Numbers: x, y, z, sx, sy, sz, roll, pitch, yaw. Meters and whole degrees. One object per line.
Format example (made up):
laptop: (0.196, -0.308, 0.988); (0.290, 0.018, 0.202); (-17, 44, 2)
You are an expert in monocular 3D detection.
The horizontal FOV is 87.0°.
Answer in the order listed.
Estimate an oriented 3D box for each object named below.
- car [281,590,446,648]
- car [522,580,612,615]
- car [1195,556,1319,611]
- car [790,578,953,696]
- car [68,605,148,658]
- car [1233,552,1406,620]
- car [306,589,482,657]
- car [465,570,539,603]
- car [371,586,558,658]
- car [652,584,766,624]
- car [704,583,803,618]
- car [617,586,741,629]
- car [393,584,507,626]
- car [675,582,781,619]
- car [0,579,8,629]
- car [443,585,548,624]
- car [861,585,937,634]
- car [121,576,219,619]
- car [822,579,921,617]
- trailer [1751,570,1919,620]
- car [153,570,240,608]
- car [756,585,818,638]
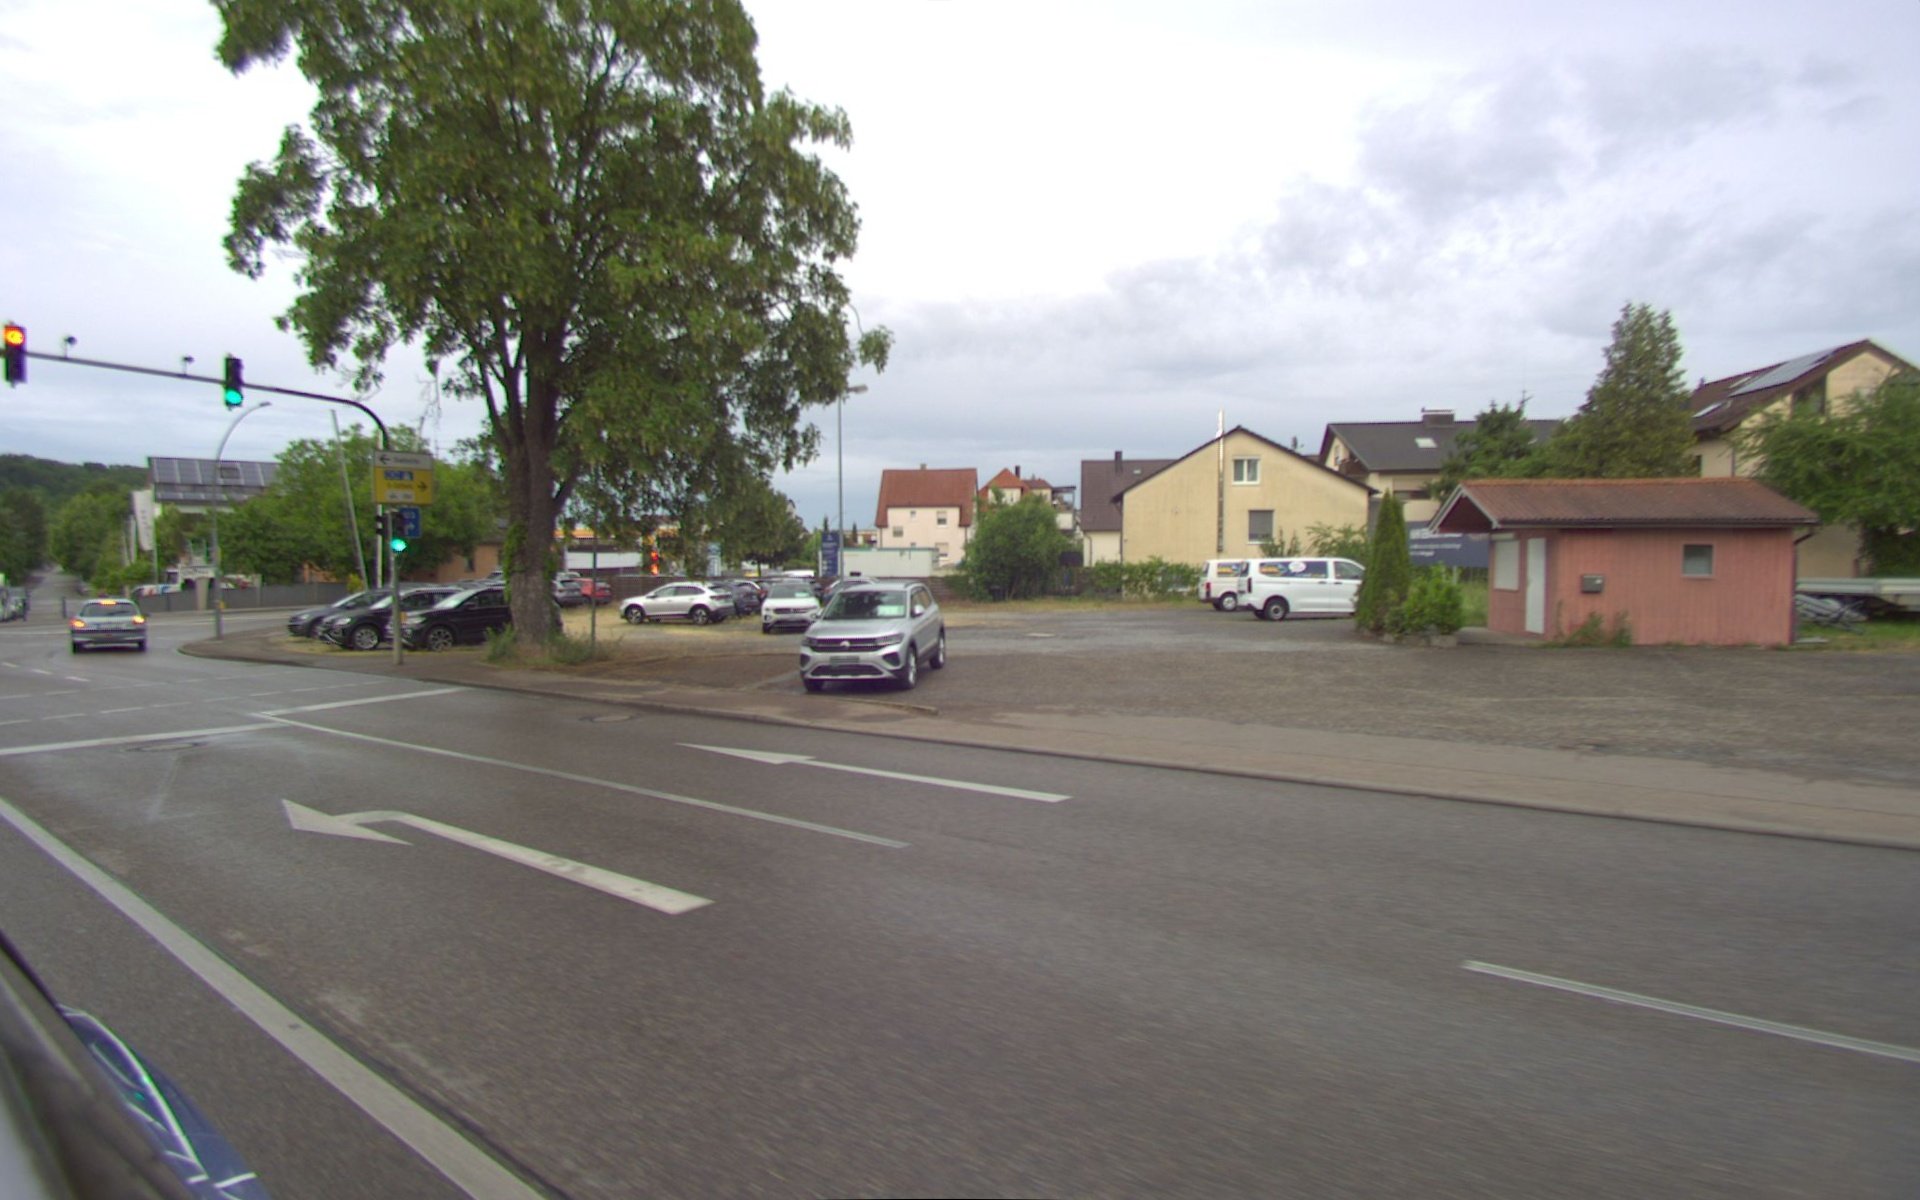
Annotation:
car: (-17.682, 0.507, 30.075); (4.091, 1.521, 1.677); (-2, 2, -35)
car: (-19.060, -0.140, 49.143); (3.721, 1.562, 1.593); (-1, 1, -1)
car: (11.305, -0.623, 38.724); (4.218, 2.002, 1.722); (-1, 1, 4)
car: (-1.317, 0.505, 16.779); (1.702, 1.581, 3.997); (-2, 2, 10)
car: (-24.042, 0.837, 28.656); (1.624, 1.391, 3.710); (-1, 0, -39)
car: (11.379, -0.437, 32.323); (4.810, 2.002, 1.958); (-1, 1, 5)
car: (-14.801, 0.546, 26.580); (3.714, 1.579, 1.673); (-2, 1, -45)
car: (-30.782, -0.881, 68.166); (2.030, 2.102, 5.242); (-1, 0, 8)
car: (-12.297, 0.492, 25.278); (1.672, 1.579, 3.842); (0, 1, 42)
car: (-9.861, 0.147, 39.875); (3.997, 1.462, 1.786); (-1, 1, 8)
car: (-9.235, -0.001, 45.416); (3.997, 1.462, 1.786); (-1, 1, 8)
car: (-10.278, 0.273, 37.170); (3.997, 1.462, 1.786); (-1, 1, 8)
car: (-20.258, 0.199, 40.328); (3.721, 1.562, 1.593); (-1, 1, -1)
car: (-9.782, 0.001, 42.773); (3.997, 1.462, 1.786); (-1, 1, 8)
car: (-60.155, 0.180, 62.064); (2.537, 2.794, 6.136); (0, 3, -43)
car: (-19.740, 0.190, 43.125); (3.721, 1.562, 1.593); (-1, 1, -1)
car: (-2.013, 0.256, 32.450); (1.799, 1.425, 4.020); (-1, 1, -12)
car: (-42.838, -0.161, 54.887); (4.336, 2.120, 1.765); (2, 2, 10)
car: (-3.877, -0.090, 44.493); (4.002, 1.566, 1.784); (-1, 1, 12)
trailer: (20.728, -0.155, 23.227); (2.079, 1.036, 4.854); (-1, 1, 12)
car: (-45.561, -0.681, 60.402); (4.175, 2.120, 1.766); (2, 2, 9)
car: (-5.447, 0.313, 31.964); (1.762, 1.521, 4.052); (-1, 1, -9)
